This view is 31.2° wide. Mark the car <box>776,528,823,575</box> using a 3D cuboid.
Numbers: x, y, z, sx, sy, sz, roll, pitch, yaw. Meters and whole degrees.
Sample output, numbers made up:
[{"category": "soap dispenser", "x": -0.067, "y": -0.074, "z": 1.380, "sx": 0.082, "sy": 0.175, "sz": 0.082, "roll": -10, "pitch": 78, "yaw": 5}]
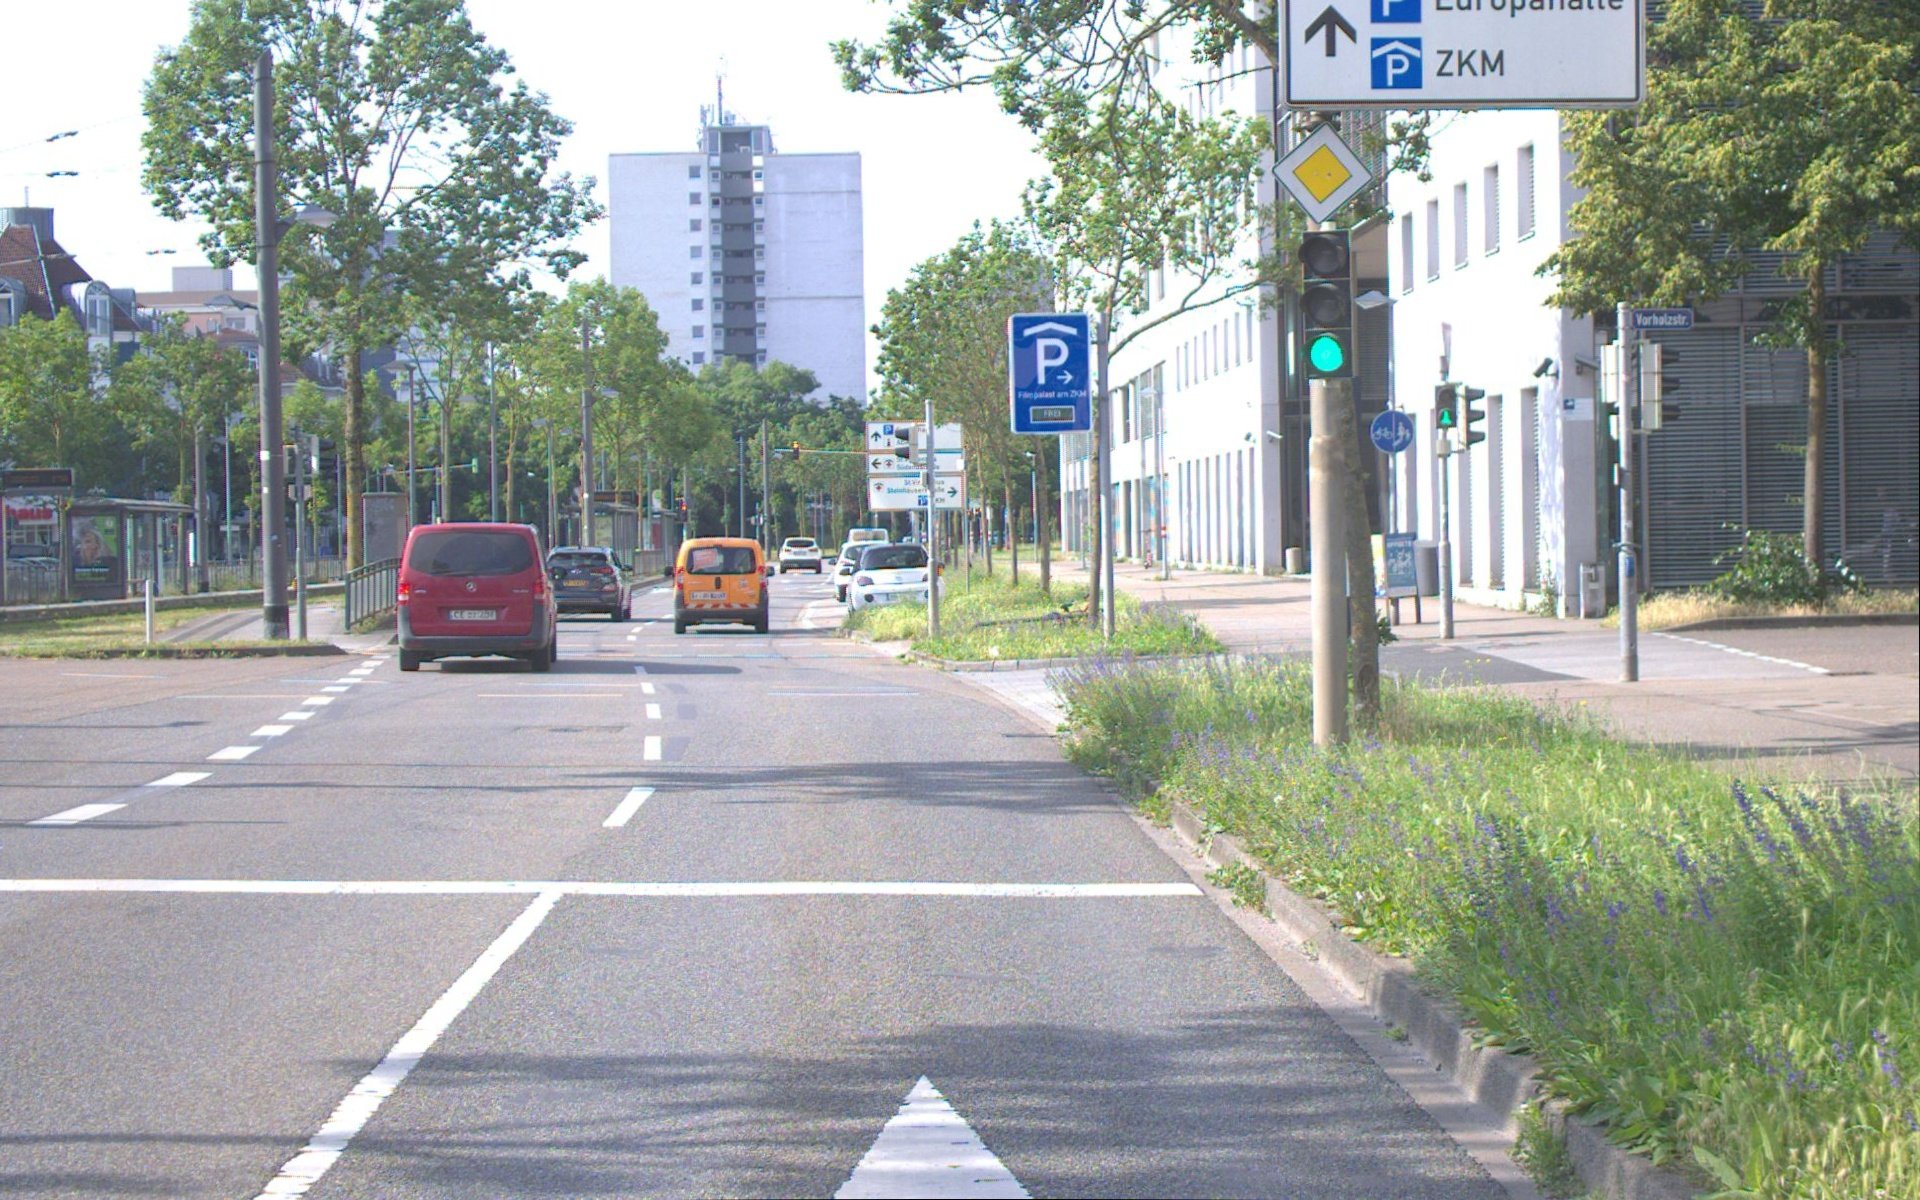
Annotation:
[{"category": "car", "x": -7.064, "y": -2.135, "z": 151.543, "sx": 1.993, "sy": 2.007, "sz": 4.001, "roll": -1, "pitch": 1, "yaw": -3}]

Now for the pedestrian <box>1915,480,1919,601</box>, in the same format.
[{"category": "pedestrian", "x": 13.213, "y": -0.799, "z": 45.760, "sx": 0.777, "sy": 1.610, "sz": 0.713, "roll": -1, "pitch": 1, "yaw": -3}]

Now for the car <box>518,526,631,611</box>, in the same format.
[{"category": "car", "x": -7.991, "y": -0.671, "z": 71.579, "sx": 1.993, "sy": 1.700, "sz": 4.000, "roll": -1, "pitch": 1, "yaw": -2}]

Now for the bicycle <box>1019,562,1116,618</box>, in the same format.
[{"category": "bicycle", "x": 1.530, "y": -0.145, "z": 48.659, "sx": 1.271, "sy": 0.630, "sz": 0.521, "roll": -7, "pitch": 0, "yaw": 6}]

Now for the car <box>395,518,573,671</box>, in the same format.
[{"category": "car", "x": -6.045, "y": -0.110, "z": 44.034, "sx": 1.874, "sy": 1.847, "sz": 4.001, "roll": -1, "pitch": 1, "yaw": -3}]

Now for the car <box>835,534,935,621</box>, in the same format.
[{"category": "car", "x": -1.403, "y": -0.425, "z": 62.828, "sx": 1.720, "sy": 1.514, "sz": 3.781, "roll": -1, "pitch": 1, "yaw": -2}]

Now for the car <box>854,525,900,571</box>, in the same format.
[{"category": "car", "x": -3.712, "y": -2.302, "z": 152.790, "sx": 1.993, "sy": 2.007, "sz": 4.000, "roll": -1, "pitch": 1, "yaw": -2}]

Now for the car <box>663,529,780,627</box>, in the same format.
[{"category": "car", "x": -4.273, "y": -0.425, "z": 62.023, "sx": 1.875, "sy": 1.690, "sz": 3.974, "roll": -1, "pitch": 1, "yaw": -1}]

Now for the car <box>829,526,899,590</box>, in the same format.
[{"category": "car", "x": -2.466, "y": -1.099, "z": 88.827, "sx": 1.689, "sy": 1.521, "sz": 3.851, "roll": -3, "pitch": 1, "yaw": -1}]
